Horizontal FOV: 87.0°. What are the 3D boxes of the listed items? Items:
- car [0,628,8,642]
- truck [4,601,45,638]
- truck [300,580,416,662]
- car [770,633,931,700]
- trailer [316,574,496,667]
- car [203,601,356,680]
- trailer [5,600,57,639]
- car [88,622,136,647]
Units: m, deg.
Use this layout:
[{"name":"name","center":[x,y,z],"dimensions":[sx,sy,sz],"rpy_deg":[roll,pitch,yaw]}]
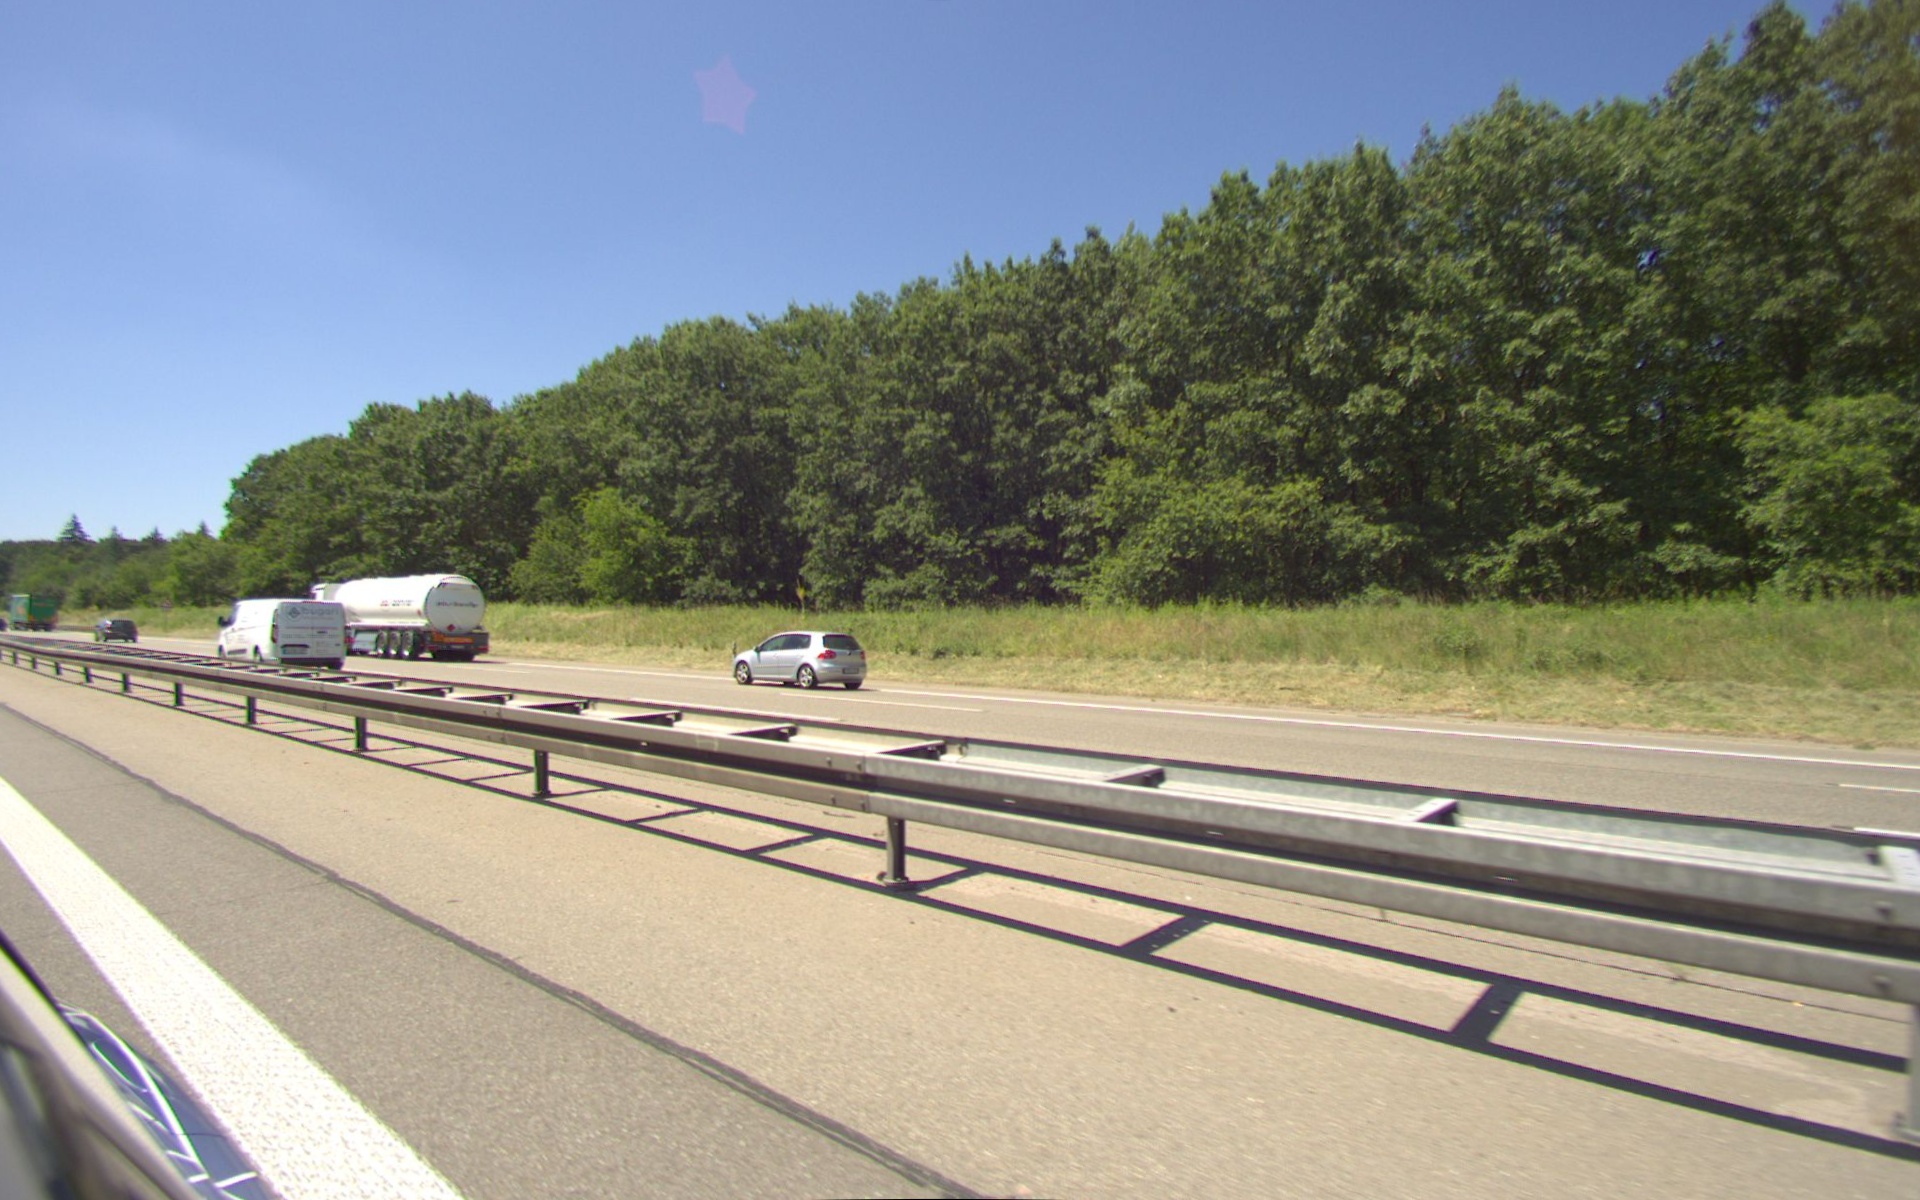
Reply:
[{"name":"car","center":[-100.311,3.583,104.977],"dimensions":[5.133,1.454,1.656],"rpy_deg":[-1,-4,41]},{"name":"truck","center":[-111.951,2.357,121.073],"dimensions":[6.293,4.193,2.672],"rpy_deg":[-1,-4,41]},{"name":"truck","center":[-27.505,0.989,46.134],"dimensions":[6.141,3.460,2.654],"rpy_deg":[-1,-4,41]},{"name":"car","center":[-2.738,1.585,24.816],"dimensions":[4.033,1.476,1.553],"rpy_deg":[-1,-4,40]},{"name":"trailer","center":[-23.608,0.913,42.682],"dimensions":[11.793,3.460,2.654],"rpy_deg":[-1,-4,41]},{"name":"car","center":[-18.912,1.100,28.011],"dimensions":[5.738,1.962,1.975],"rpy_deg":[-1,-4,40]},{"name":"trailer","center":[-107.684,2.278,117.226],"dimensions":[14.330,4.193,2.676],"rpy_deg":[-1,-4,41]},{"name":"car","center":[-52.491,2.139,62.638],"dimensions":[3.935,1.484,1.616],"rpy_deg":[-1,-4,41]}]
